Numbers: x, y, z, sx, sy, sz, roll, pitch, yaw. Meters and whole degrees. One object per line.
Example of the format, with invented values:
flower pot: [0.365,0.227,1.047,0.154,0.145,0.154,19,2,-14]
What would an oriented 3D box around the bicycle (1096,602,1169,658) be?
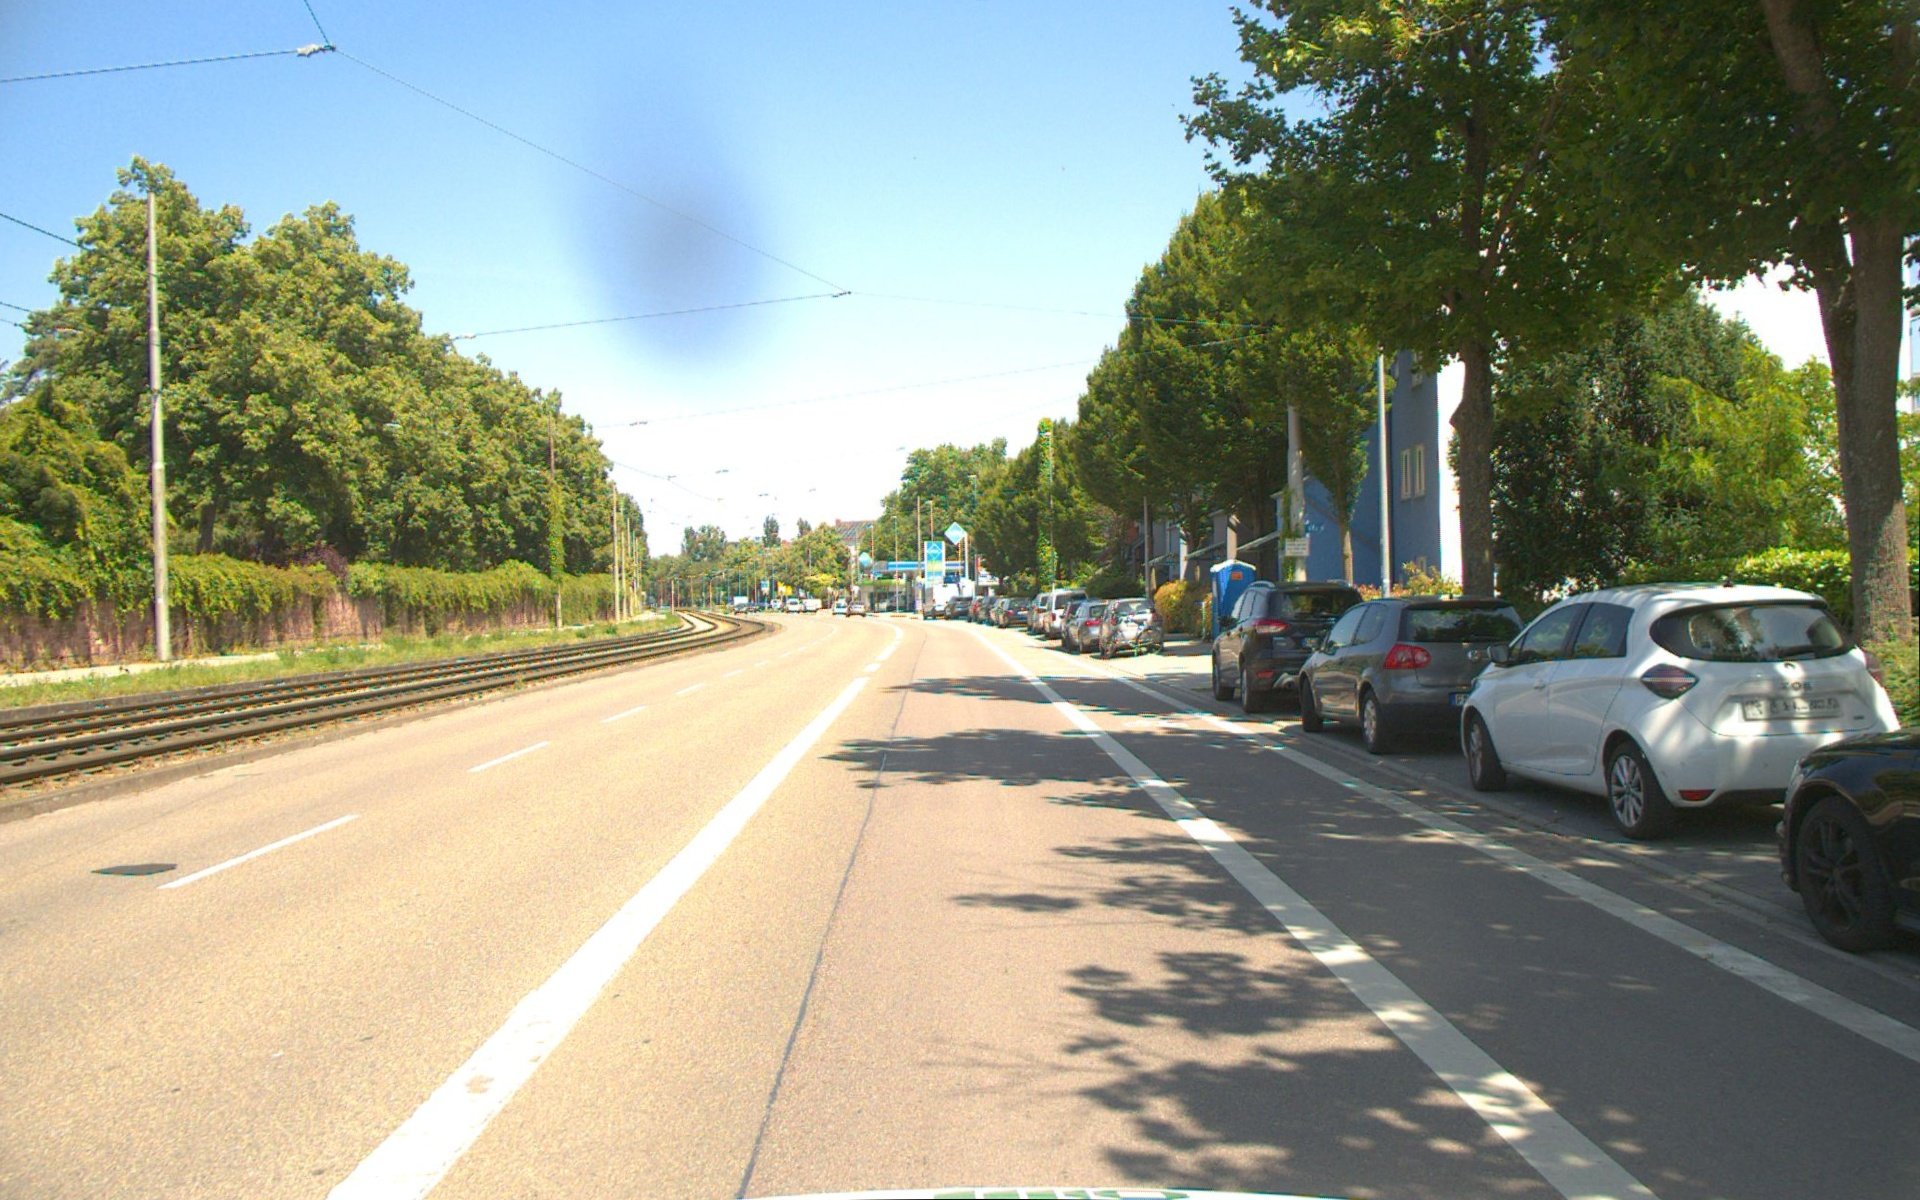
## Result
bicycle: [4.474,0.768,43.001,1.737,1.249,0.684,-6,0,3]

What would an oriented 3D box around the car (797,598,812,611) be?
car: [-22.053,0.601,233.995,1.724,1.658,4.314,-4,1,-10]

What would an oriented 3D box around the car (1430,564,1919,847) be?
car: [5.023,0.600,11.887,1.804,1.556,4.203,-4,1,-3]

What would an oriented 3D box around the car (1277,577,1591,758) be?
car: [4.803,0.601,17.465,1.804,1.556,4.351,-4,1,-3]

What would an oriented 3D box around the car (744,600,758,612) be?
car: [-30.929,0.908,244.893,1.724,1.658,4.314,-4,1,-10]

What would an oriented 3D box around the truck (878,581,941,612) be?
truck: [-6.414,-0.451,209.295,7.810,3.665,2.661,-1,0,-4]

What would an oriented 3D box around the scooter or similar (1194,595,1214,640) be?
scooter or similar: [7.118,0.506,48.224,0.376,1.302,1.338,0,0,-1]

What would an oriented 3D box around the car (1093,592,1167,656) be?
car: [4.586,0.616,45.044,1.488,1.556,3.816,-4,1,-1]

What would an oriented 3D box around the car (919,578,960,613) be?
car: [-1.586,-0.321,125.153,1.965,2.499,6.093,-4,1,-11]

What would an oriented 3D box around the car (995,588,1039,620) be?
car: [2.991,0.194,88.043,1.674,1.518,5.033,-4,1,-5]

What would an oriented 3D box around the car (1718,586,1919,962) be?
car: [4.792,0.687,5.814,1.804,1.461,4.822,-4,1,-3]

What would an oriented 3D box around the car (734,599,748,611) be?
car: [-30.289,0.716,228.344,1.724,1.535,4.314,-4,1,-10]

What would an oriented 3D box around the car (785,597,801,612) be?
car: [-22.663,0.582,223.984,1.724,1.907,4.314,-4,1,-10]

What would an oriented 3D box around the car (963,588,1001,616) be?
car: [1.398,0.124,105.112,1.675,1.589,4.315,-4,1,-8]

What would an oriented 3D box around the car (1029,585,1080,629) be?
car: [4.014,0.271,71.204,1.803,1.723,4.778,-4,1,0]

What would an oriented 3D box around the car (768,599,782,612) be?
car: [-25.784,0.775,230.260,1.723,1.658,4.316,-4,1,-8]

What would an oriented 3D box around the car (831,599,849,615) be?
car: [-13.789,0.799,190.182,1.723,1.658,4.316,-4,1,-8]

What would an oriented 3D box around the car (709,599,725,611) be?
car: [-35.907,0.755,244.110,1.727,1.658,4.307,-4,1,-15]

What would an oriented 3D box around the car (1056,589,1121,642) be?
car: [4.240,0.491,55.082,1.803,1.556,4.216,-4,1,1]

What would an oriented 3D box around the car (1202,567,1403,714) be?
car: [4.645,0.477,23.125,1.803,1.736,4.626,-4,1,1]

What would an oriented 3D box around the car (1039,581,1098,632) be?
car: [4.234,0.237,65.023,1.804,1.825,4.352,-4,1,-2]

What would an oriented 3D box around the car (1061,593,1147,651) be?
car: [4.301,0.623,50.047,1.804,1.556,4.963,-4,1,-3]

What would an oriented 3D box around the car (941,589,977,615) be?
car: [-0.092,0.156,115.062,1.724,1.658,4.314,-4,1,-10]

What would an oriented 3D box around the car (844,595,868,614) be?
car: [-9.881,0.394,156.979,1.724,1.658,4.314,-4,1,-10]
